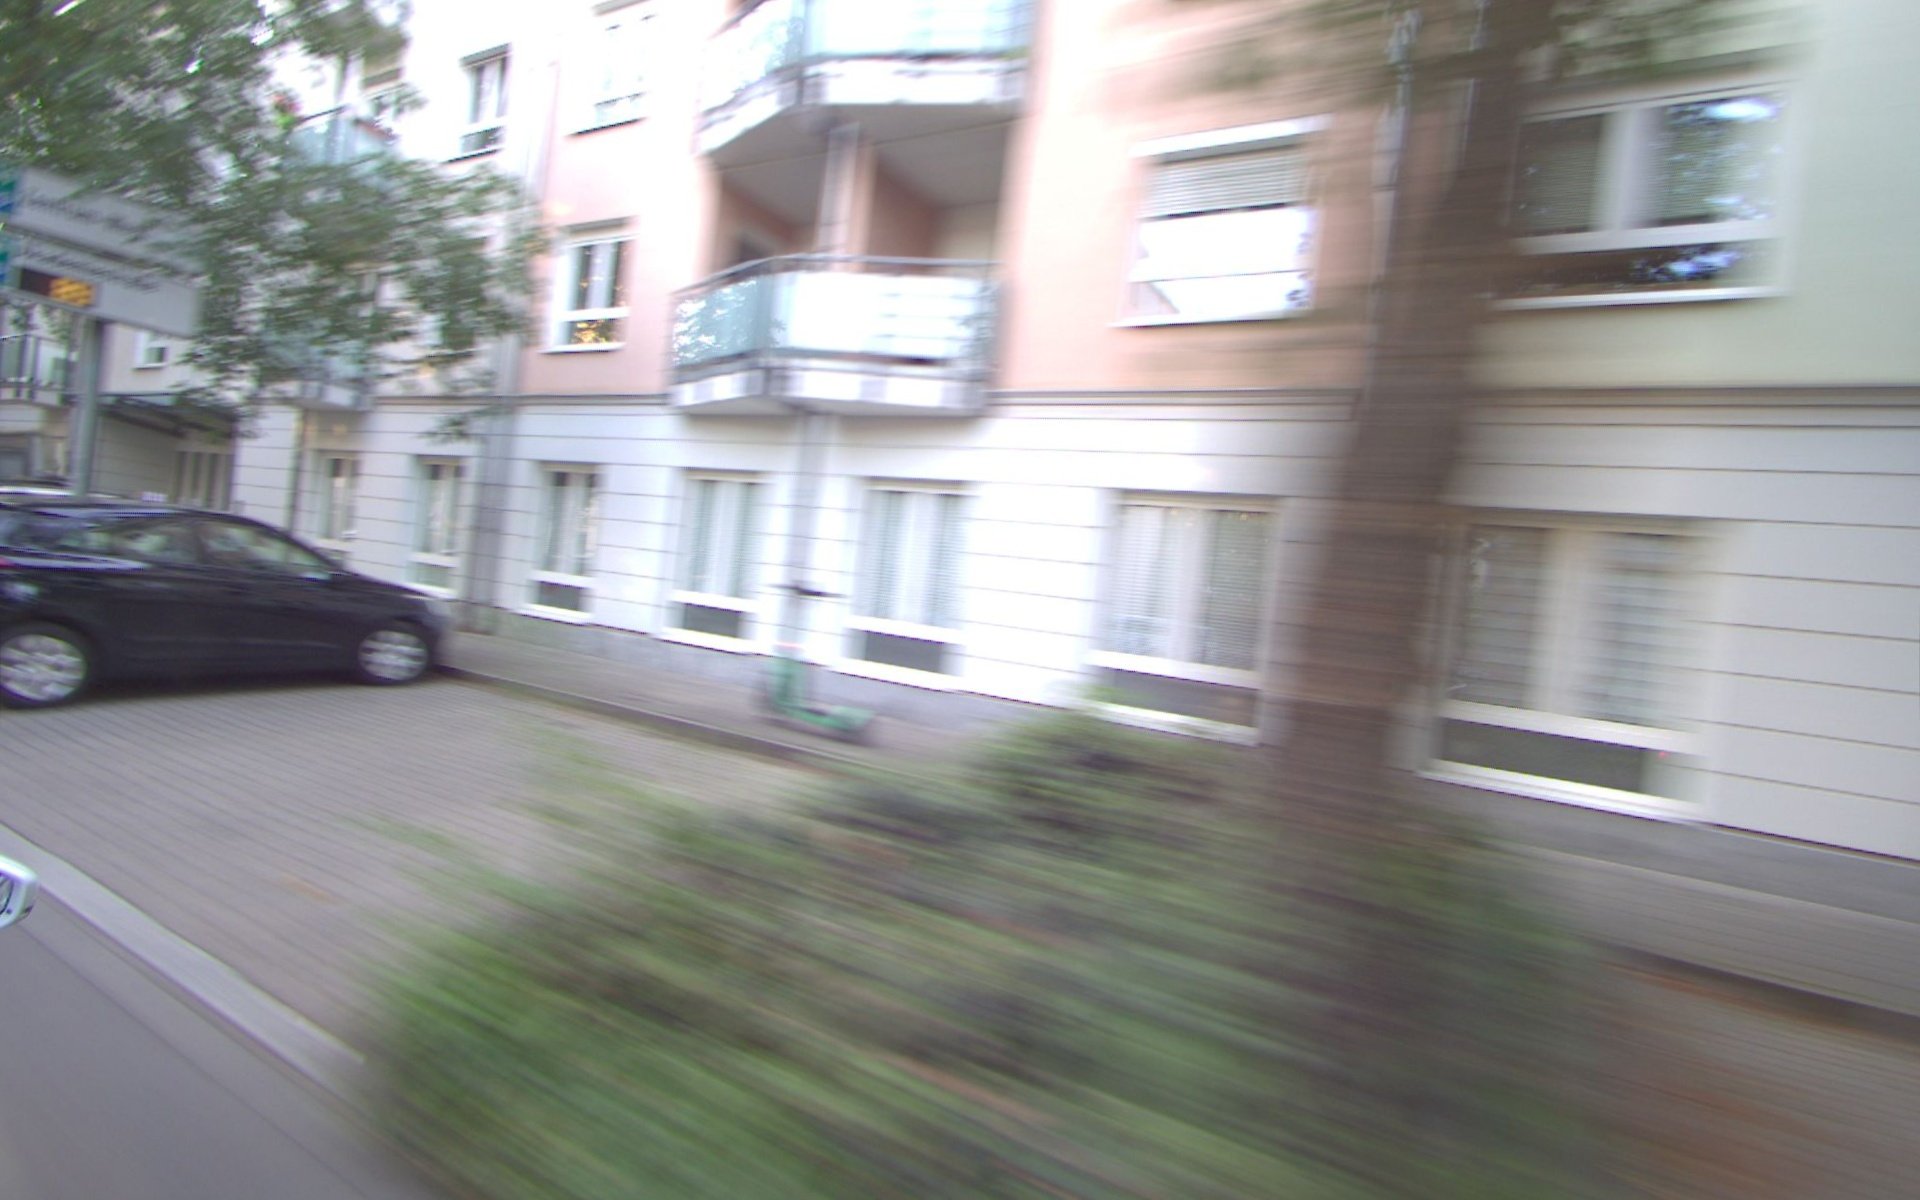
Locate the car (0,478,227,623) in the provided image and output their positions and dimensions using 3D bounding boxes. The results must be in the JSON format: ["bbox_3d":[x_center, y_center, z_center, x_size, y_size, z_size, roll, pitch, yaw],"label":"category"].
[{"bbox_3d":[-11.348,-0.641,11.380,1.743,1.572,4.573,7,2,31],"label":"car"}]

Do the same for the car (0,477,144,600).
[{"bbox_3d":[-13.372,-0.905,13.035,1.699,1.546,3.985,7,2,33],"label":"car"}]

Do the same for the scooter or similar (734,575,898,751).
[{"bbox_3d":[-1.195,0.496,8.238,1.232,1.256,0.399,7,0,32],"label":"scooter or similar"}]

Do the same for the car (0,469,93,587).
[{"bbox_3d":[-15.590,-1.204,14.415,1.861,1.726,4.391,7,2,24],"label":"car"}]

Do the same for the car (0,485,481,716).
[{"bbox_3d":[-6.406,-0.054,8.357,1.880,1.494,3.990,7,3,28],"label":"car"}]
